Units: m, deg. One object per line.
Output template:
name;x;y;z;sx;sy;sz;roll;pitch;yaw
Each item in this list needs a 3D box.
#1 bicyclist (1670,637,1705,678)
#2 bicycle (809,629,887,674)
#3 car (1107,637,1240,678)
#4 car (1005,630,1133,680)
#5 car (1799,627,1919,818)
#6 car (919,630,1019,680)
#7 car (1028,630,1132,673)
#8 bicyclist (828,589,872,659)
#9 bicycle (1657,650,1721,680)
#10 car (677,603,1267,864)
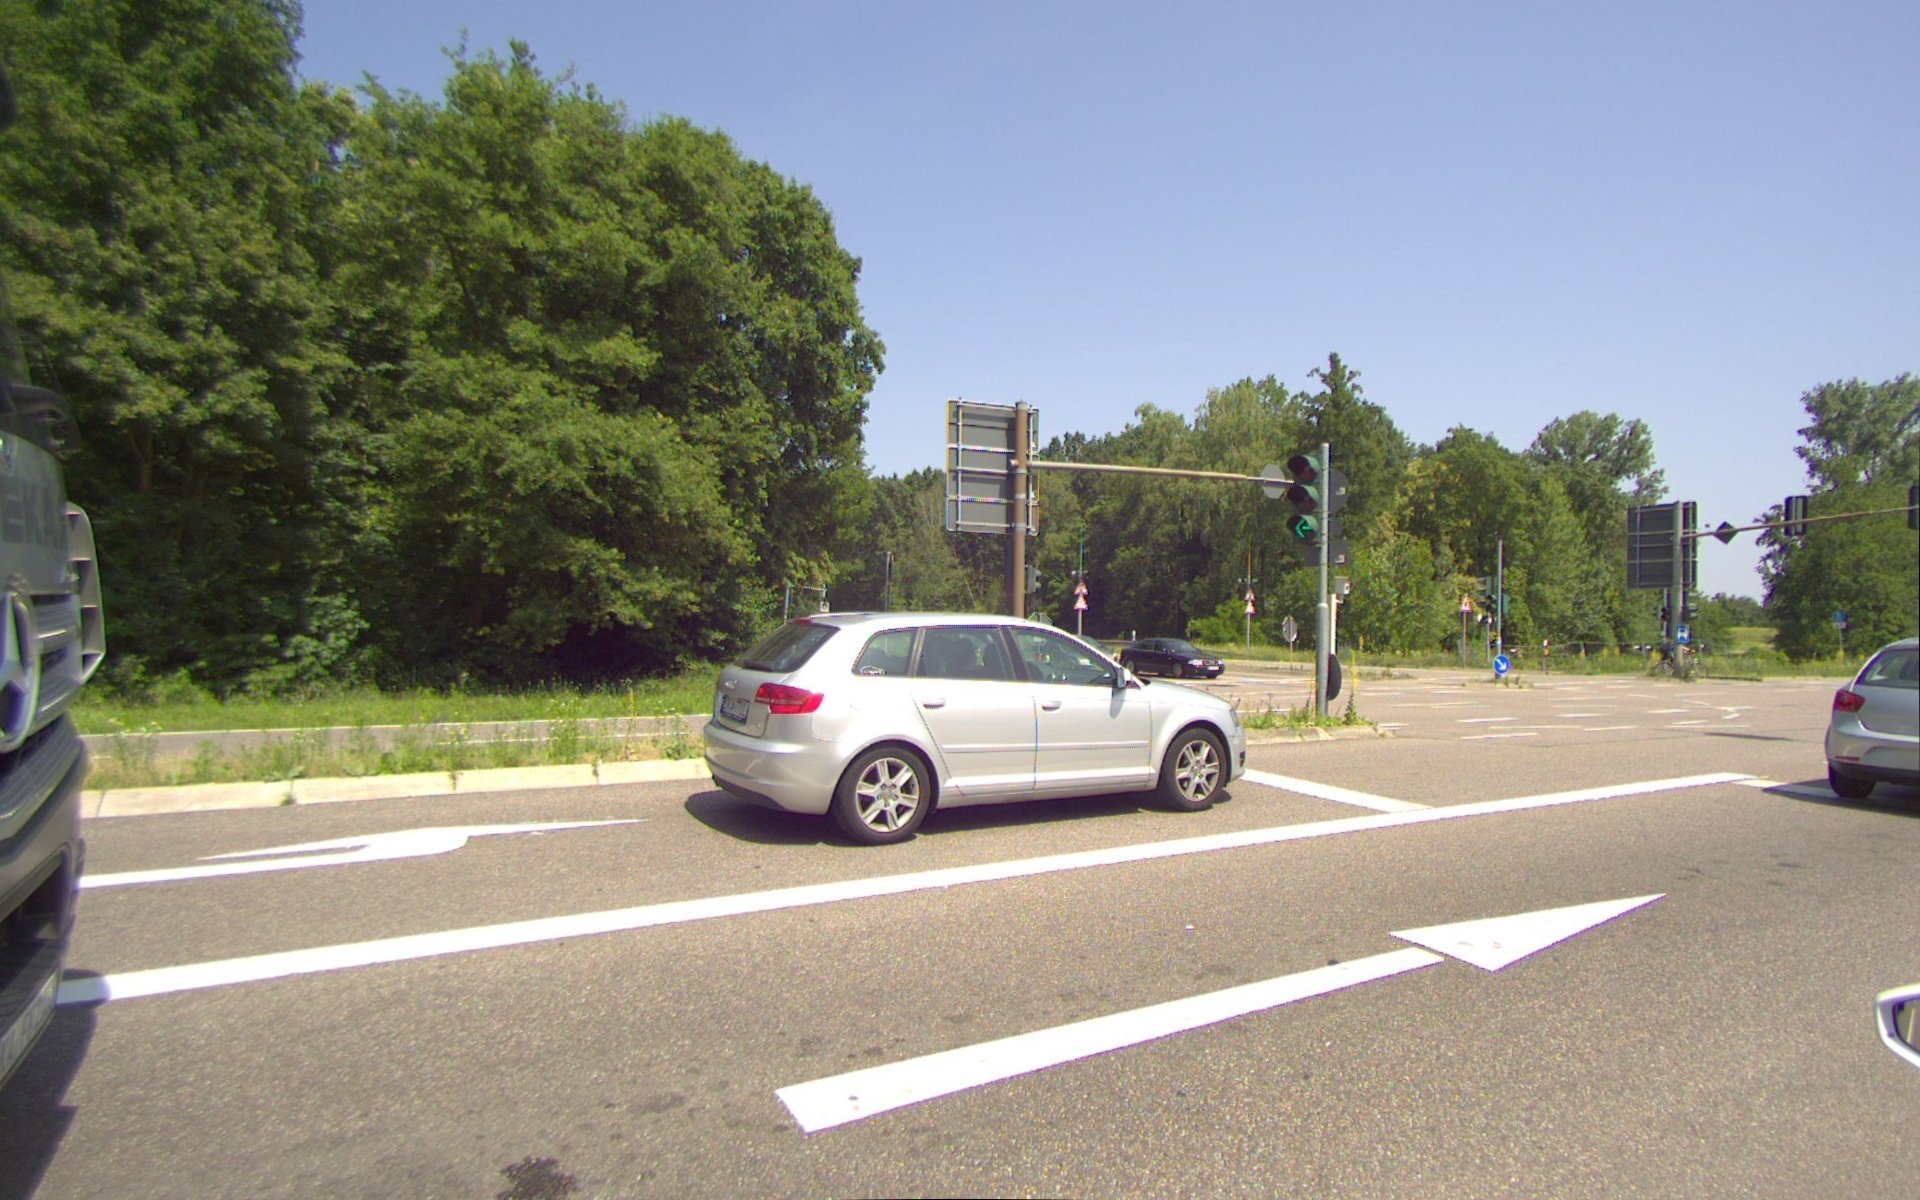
bicyclist;27.227;2.143;37.594;0.701;1.479;0.927;0;-2;8
bicycle;-2.428;1.110;21.751;1.581;0.935;0.564;1;-2;-21
car;7.567;2.018;36.119;2.080;1.307;4.784;2;-2;-29
car;3.725;1.880;35.195;2.104;1.588;4.784;2;-2;-29
car;9.091;1.012;8.639;3.782;1.449;1.658;2;0;-30
car;0.279;2.198;41.271;1.976;1.923;4.783;2;-2;-30
car;4.802;2.049;40.972;1.974;1.657;4.790;1;-2;-26
bicyclist;-2.390;0.516;21.776;0.798;1.484;0.658;1;-2;-21
bicycle;27.264;2.425;37.586;1.831;1.077;0.725;0;-2;8
car;0.175;0.780;7.309;3.970;1.410;1.755;1;0;-32
